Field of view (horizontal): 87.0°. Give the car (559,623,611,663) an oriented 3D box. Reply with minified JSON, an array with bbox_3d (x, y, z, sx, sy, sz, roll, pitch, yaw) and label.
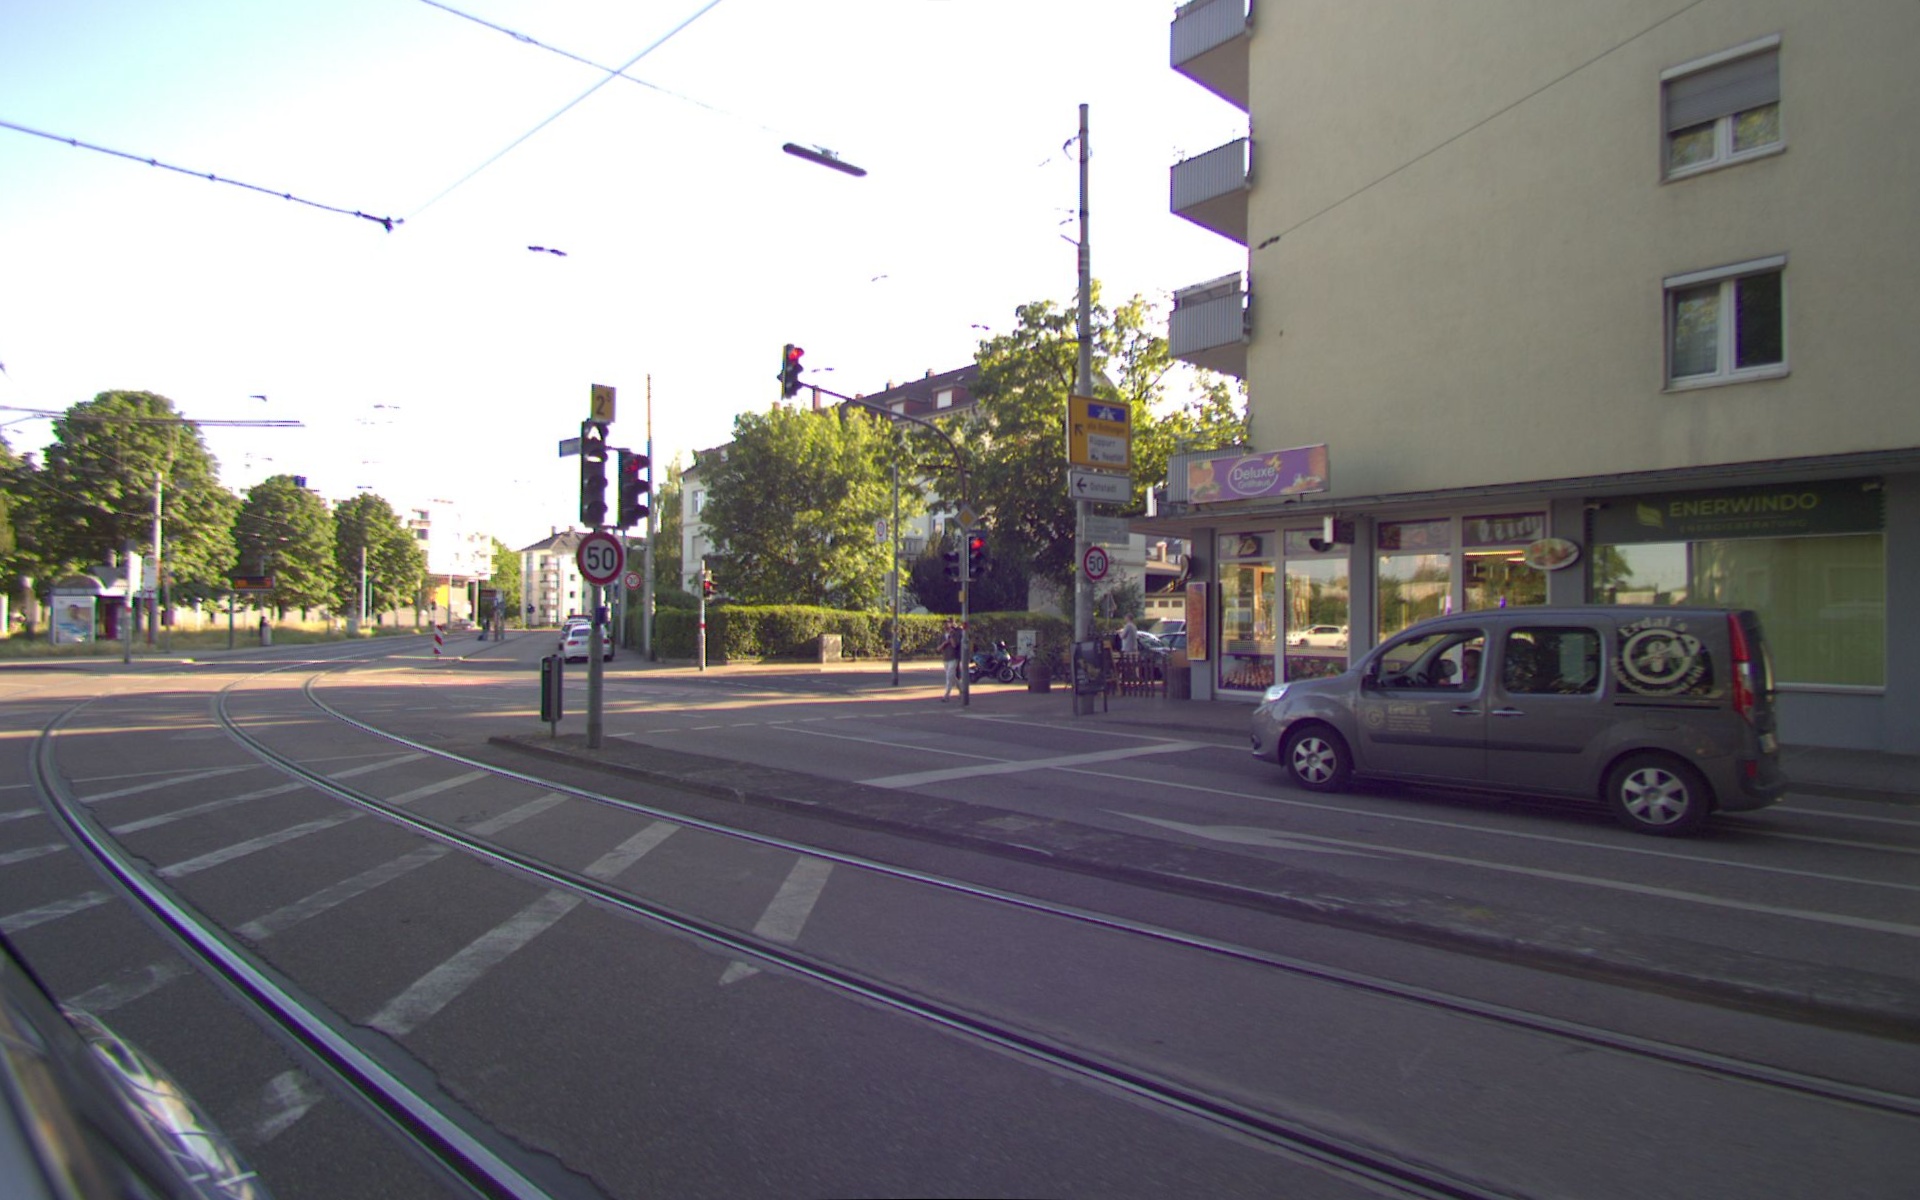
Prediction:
[{"bbox_3d":[-14.595,1.661,39.519,1.787,1.439,3.752,-1,-1,-19],"label":"car"}]

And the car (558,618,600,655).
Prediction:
[{"bbox_3d":[-18.782,1.776,50.058,1.787,1.707,3.994,-1,-1,-19],"label":"car"}]

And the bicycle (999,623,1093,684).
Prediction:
[{"bbox_3d":[2.276,1.405,27.003,2.516,1.555,0.834,-1,-2,41],"label":"bicycle"}]

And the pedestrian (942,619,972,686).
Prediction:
[{"bbox_3d":[-0.068,1.273,24.624,0.545,1.589,0.466,-1,0,41],"label":"pedestrian"}]

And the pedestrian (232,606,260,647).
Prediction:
[{"bbox_3d":[-36.053,1.334,51.089,0.858,2.029,0.902,-1,-2,35],"label":"pedestrian"}]

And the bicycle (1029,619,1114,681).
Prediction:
[{"bbox_3d":[3.038,1.348,27.794,2.311,1.649,0.772,-1,-2,41],"label":"bicycle"}]

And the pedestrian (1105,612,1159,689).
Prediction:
[{"bbox_3d":[4.220,1.226,24.804,1.030,1.829,0.824,-1,-2,41],"label":"pedestrian"}]

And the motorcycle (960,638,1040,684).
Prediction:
[{"bbox_3d":[1.042,1.579,26.491,2.092,1.140,0.748,-1,-2,41],"label":"motorcycle"}]

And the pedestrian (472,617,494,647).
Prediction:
[{"bbox_3d":[-32.111,2.139,68.128,0.871,2.029,0.994,0,-2,19],"label":"pedestrian"}]

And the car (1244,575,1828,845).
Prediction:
[{"bbox_3d":[4.966,0.818,9.106,4.225,1.846,1.971,-1,-3,44],"label":"car"}]

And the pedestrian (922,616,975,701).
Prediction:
[{"bbox_3d":[-0.238,1.174,20.676,0.742,1.693,0.795,2,-2,-35],"label":"pedestrian"}]

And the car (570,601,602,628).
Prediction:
[{"bbox_3d":[-23.935,0.960,64.782,1.787,1.591,3.752,-1,-1,-19],"label":"car"}]

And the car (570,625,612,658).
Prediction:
[{"bbox_3d":[-16.021,1.789,44.079,1.614,1.333,3.349,-1,-1,-19],"label":"car"}]
